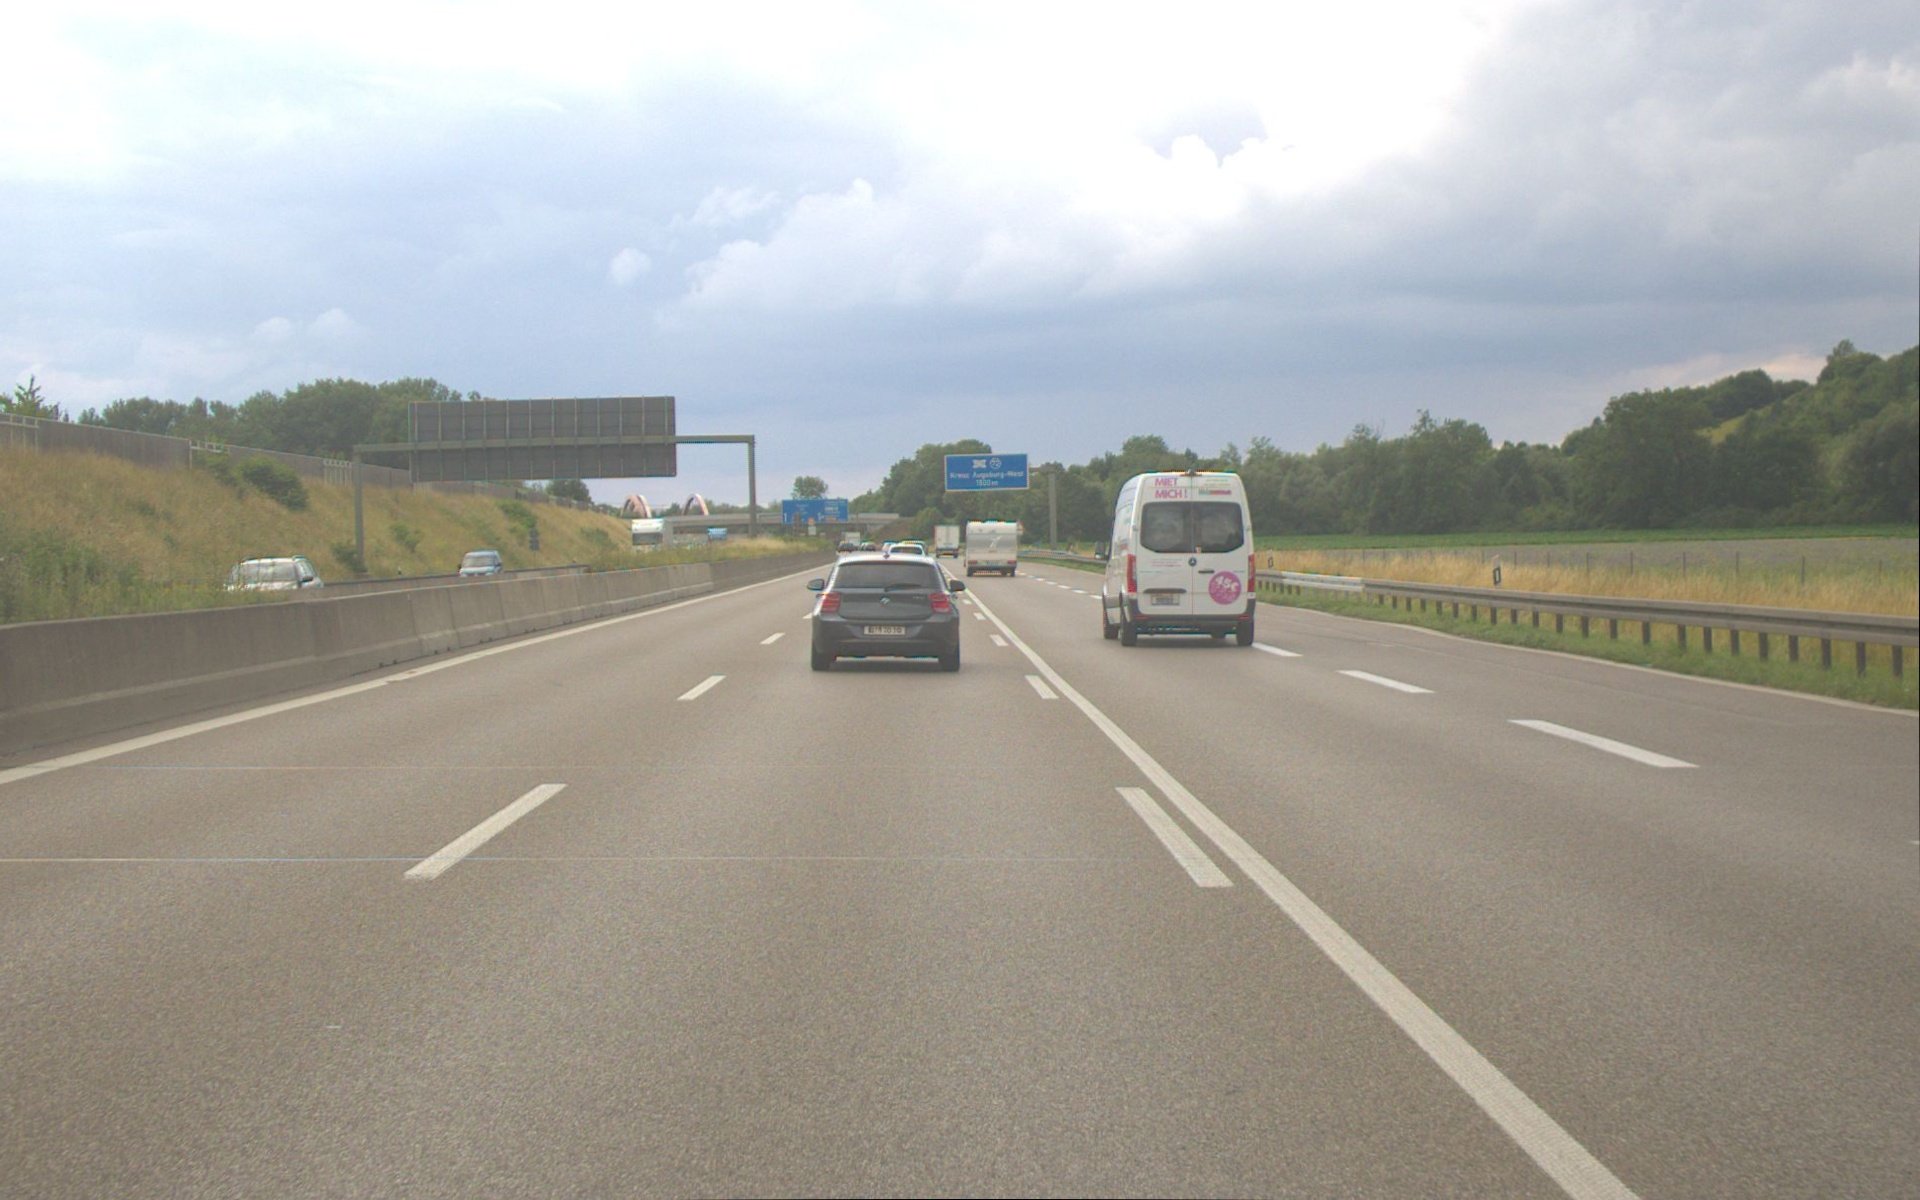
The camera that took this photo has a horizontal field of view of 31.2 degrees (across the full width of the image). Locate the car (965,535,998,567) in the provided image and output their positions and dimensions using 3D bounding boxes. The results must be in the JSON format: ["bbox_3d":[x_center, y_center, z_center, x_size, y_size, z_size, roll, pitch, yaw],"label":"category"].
[{"bbox_3d":[1.355,-3.110,218.081,1.993,2.007,4.000,0,1,-1],"label":"car"}]

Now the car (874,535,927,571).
[{"bbox_3d":[-2.295,-1.822,131.792,1.993,1.293,4.000,-1,1,-1],"label":"car"}]

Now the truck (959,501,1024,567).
[{"bbox_3d":[1.411,-3.112,162.565,2.710,2.954,12.448,1,1,-1],"label":"truck"}]

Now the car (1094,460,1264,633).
[{"bbox_3d":[3.378,-0.865,54.208,2.221,2.559,6.256,0,1,-1],"label":"car"}]

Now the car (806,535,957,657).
[{"bbox_3d":[-0.931,-0.088,41.970,1.743,1.384,4.000,0,1,-1],"label":"car"}]

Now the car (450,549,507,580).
[{"bbox_3d":[-22.333,-1.640,159.563,1.993,1.359,4.941,1,1,-1],"label":"car"}]
